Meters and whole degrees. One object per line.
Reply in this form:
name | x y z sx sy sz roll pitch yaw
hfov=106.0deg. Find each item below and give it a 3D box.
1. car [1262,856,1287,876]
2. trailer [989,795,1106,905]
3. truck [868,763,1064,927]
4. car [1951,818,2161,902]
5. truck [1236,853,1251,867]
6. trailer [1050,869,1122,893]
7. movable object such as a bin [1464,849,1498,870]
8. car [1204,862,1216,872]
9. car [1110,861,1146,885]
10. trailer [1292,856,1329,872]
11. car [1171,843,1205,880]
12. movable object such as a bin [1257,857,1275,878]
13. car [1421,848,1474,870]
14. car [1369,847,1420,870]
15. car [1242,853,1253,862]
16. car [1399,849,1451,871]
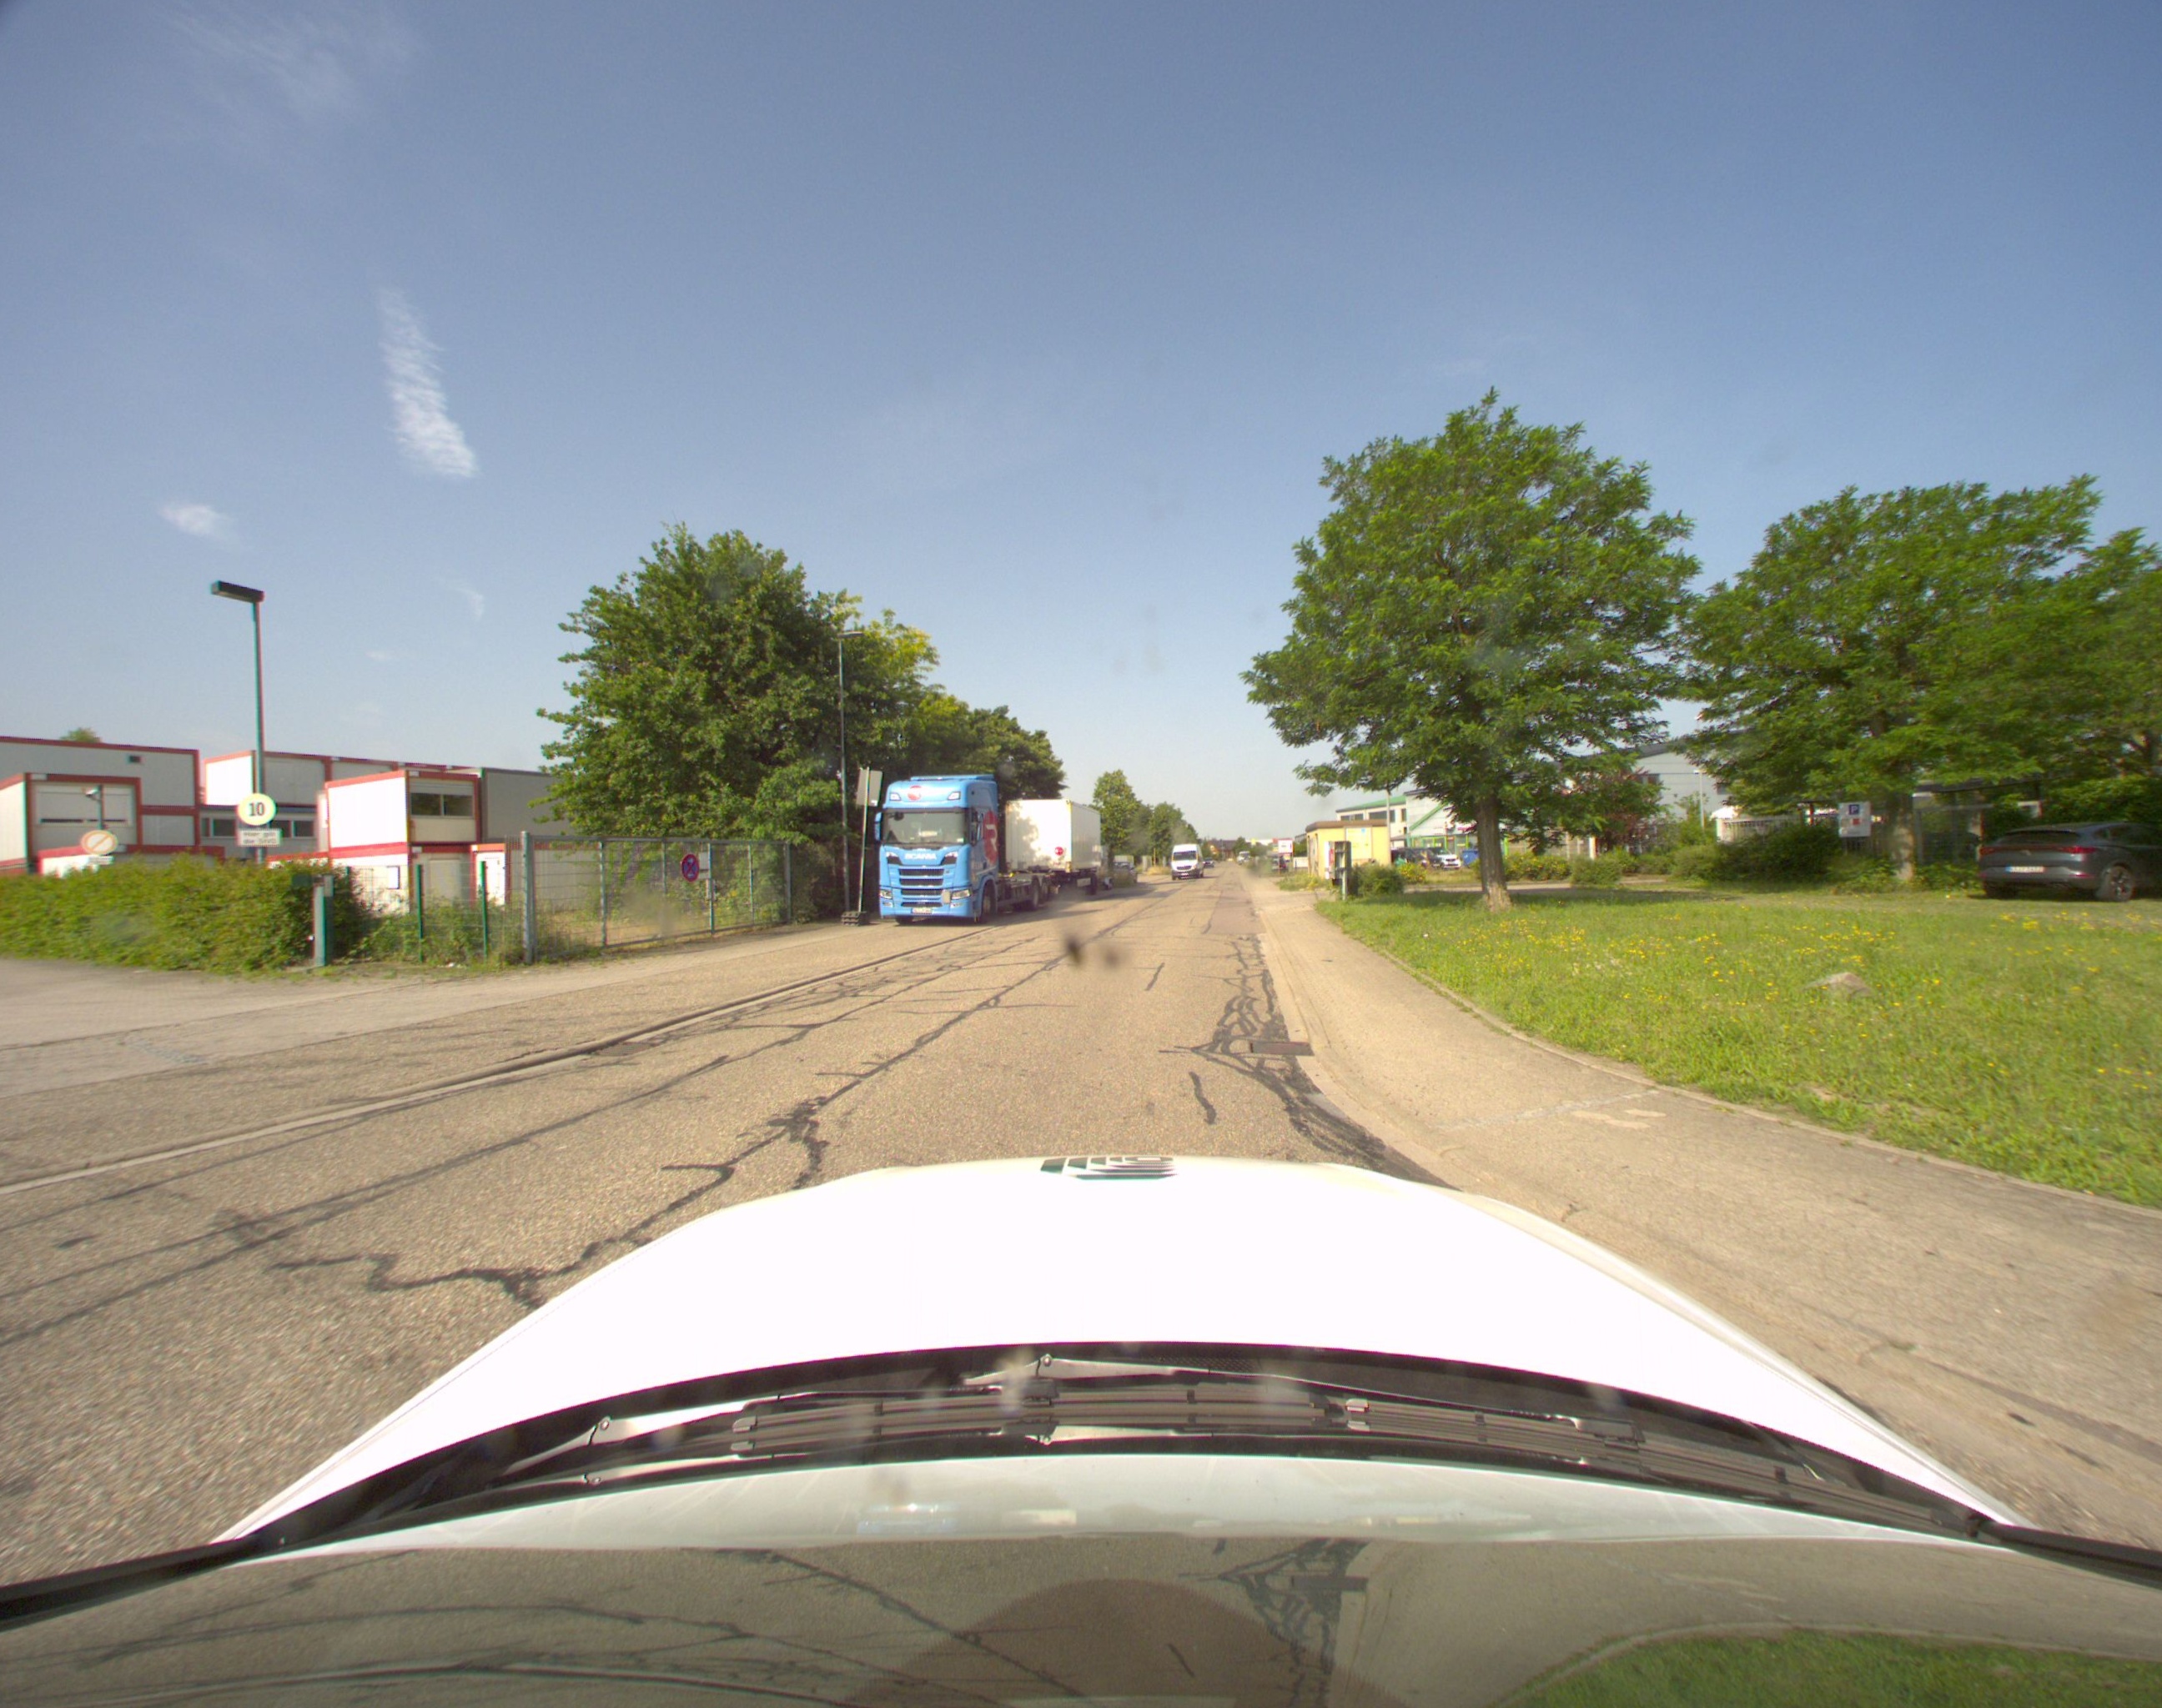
car | 14.821 0.895 62.258 1.661 1.369 4.411 -2 -1 15
trailer | -1.055 -0.109 33.769 2.683 3.884 9.793 -1 -1 10
truck | -2.897 -0.173 24.244 2.695 3.884 9.665 -1 -1 11
car | 19.772 0.086 15.957 4.029 1.464 1.794 -2 0 -10
truck | 32.518 1.184 162.880 2.346 2.682 6.524 -2 0 7
trailer | 0.390 1.331 41.671 2.632 0.985 6.260 -2 -1 10
movable object such as a bin | 26.896 0.374 54.742 0.997 1.345 2.000 -2 0 -11
car | 21.600 2.173 136.091 1.800 1.627 4.261 -3 -1 10
car | 3.062 1.192 52.760 1.676 1.470 4.106 -2 -1 12
trailer | 18.250 0.790 64.829 1.493 1.248 2.961 0 -1 -15
car | 8.061 0.555 60.878 1.981 2.547 7.011 -3 -1 11
movable object such as a bin | 12.824 0.947 56.416 1.074 1.353 1.510 -4 -1 11
car | 24.144 0.347 53.759 1.581 1.345 3.176 -2 0 -11
car | 20.081 0.297 52.269 1.581 1.345 3.176 -2 0 -11
car | 28.555 0.623 139.637 1.783 1.517 4.437 -2 0 10
car | 22.309 0.403 52.934 1.581 1.345 3.176 -2 0 -11
